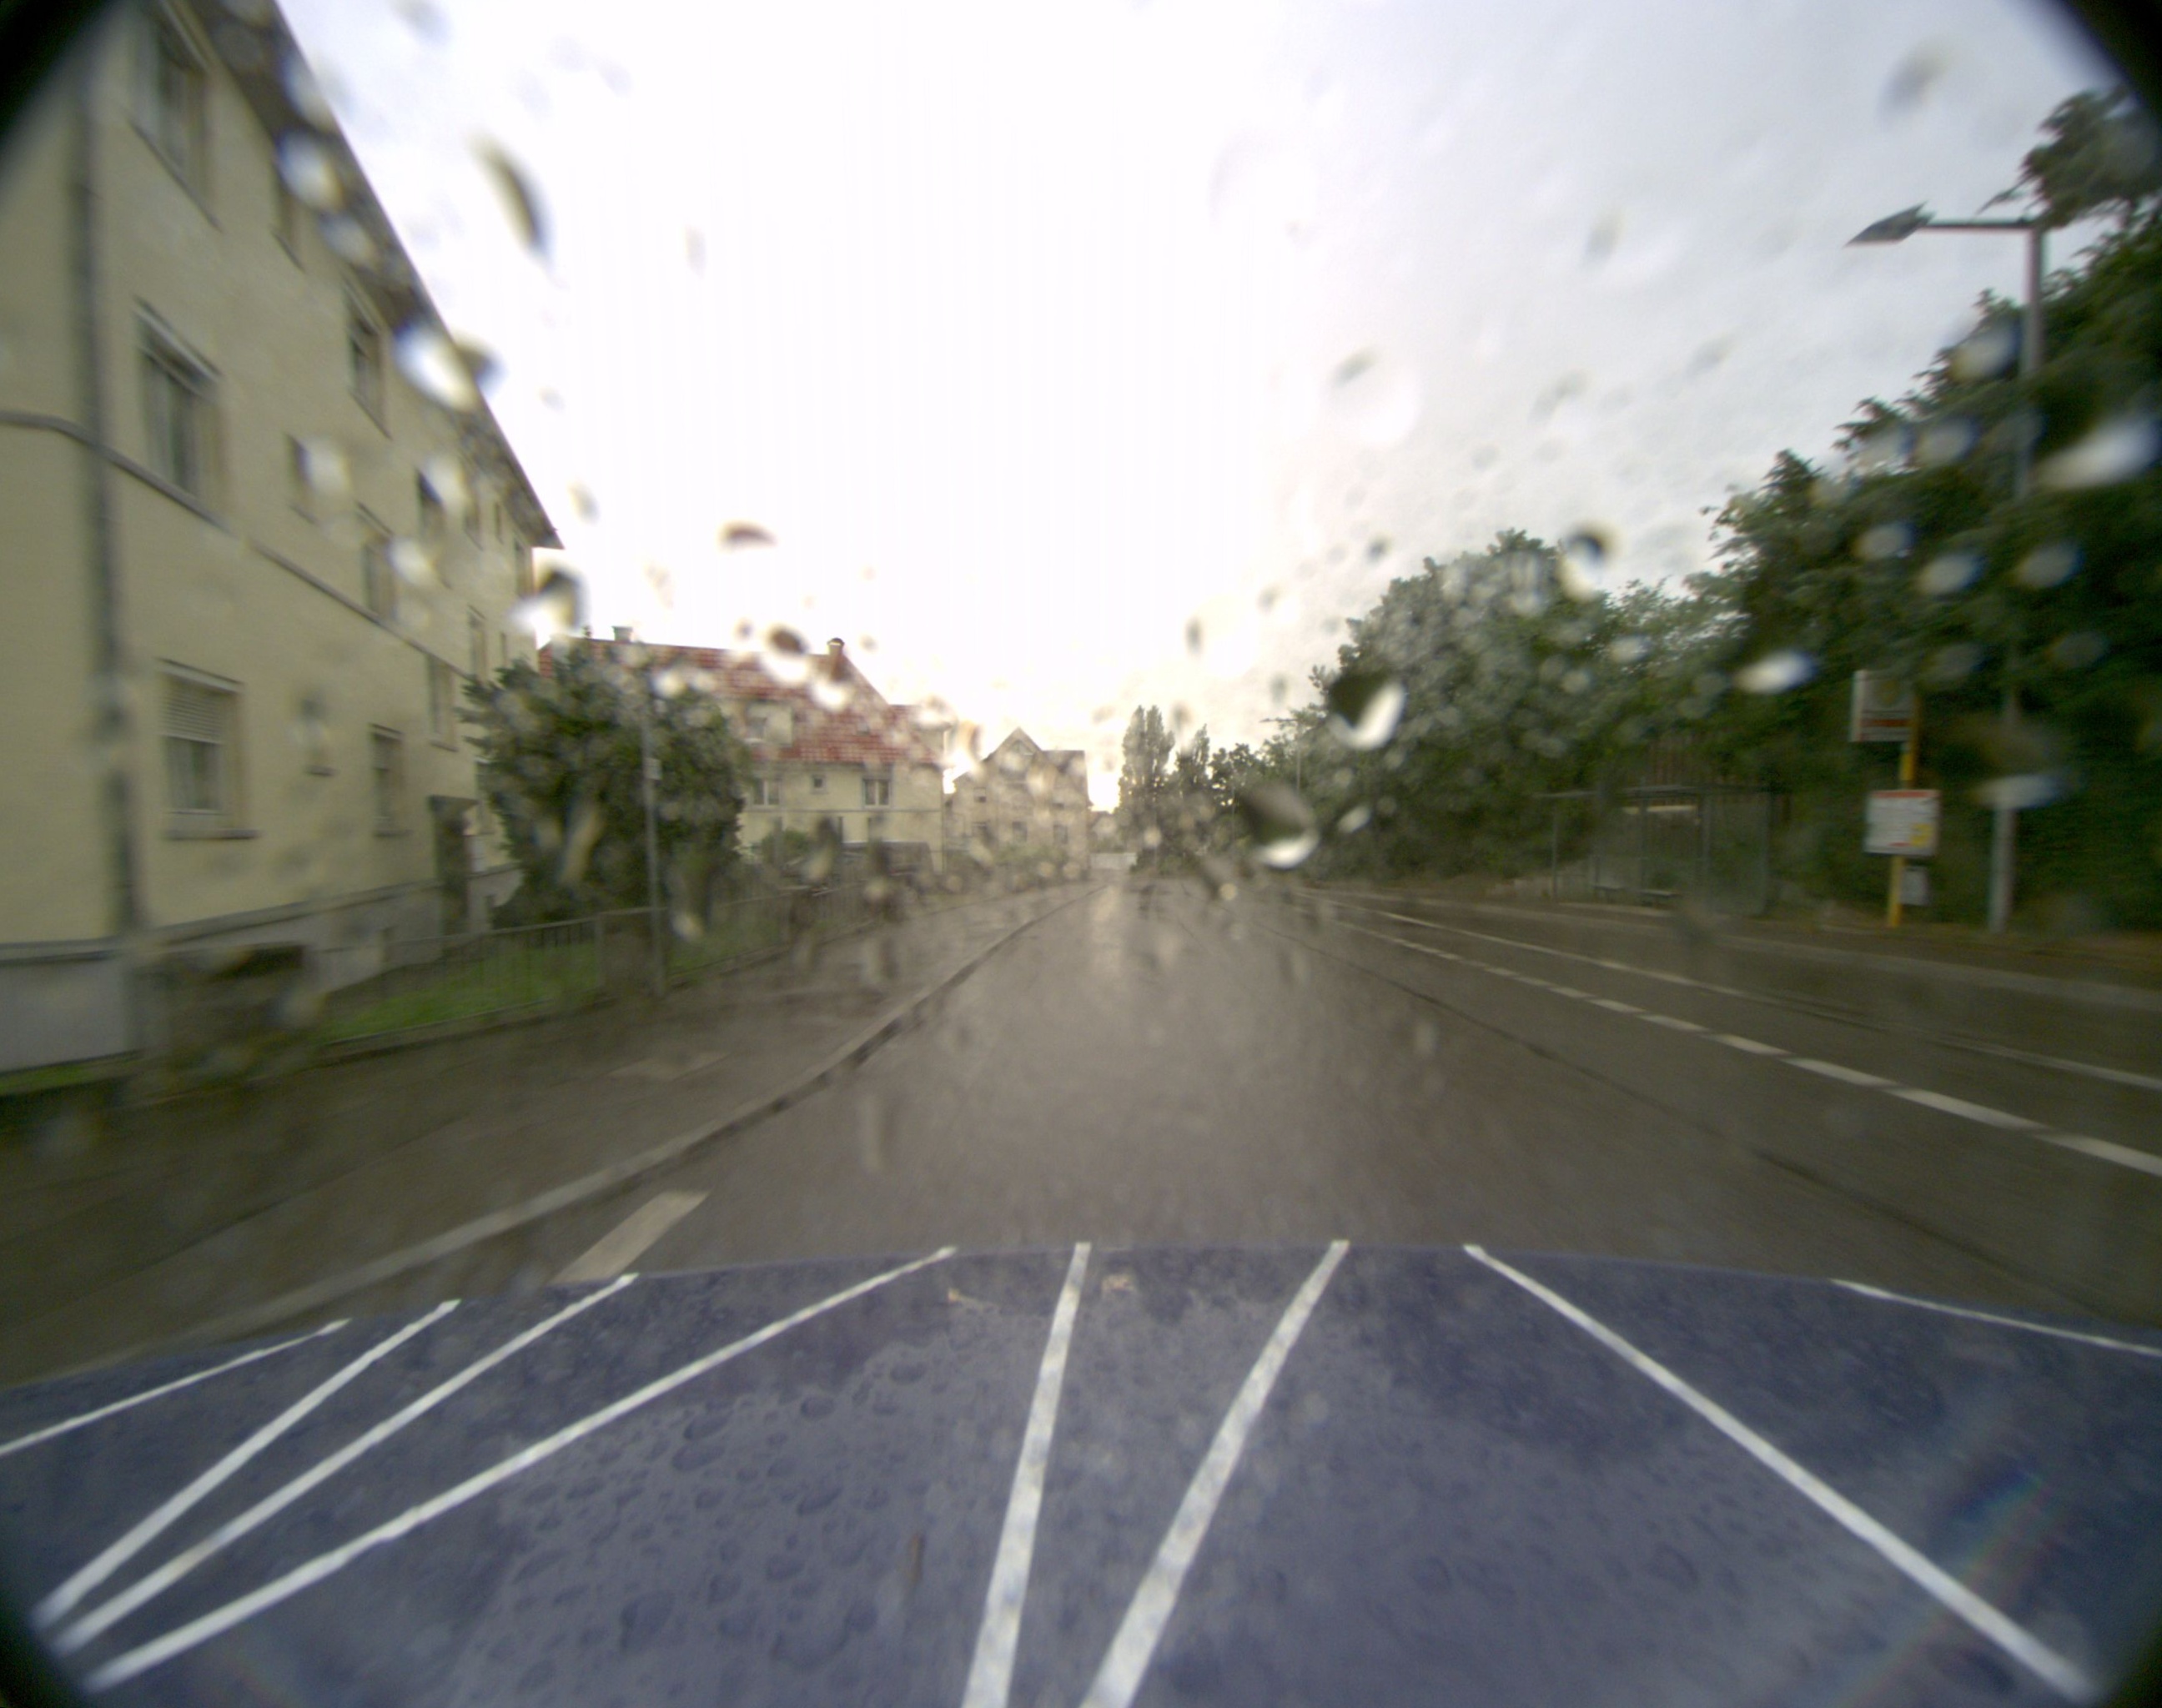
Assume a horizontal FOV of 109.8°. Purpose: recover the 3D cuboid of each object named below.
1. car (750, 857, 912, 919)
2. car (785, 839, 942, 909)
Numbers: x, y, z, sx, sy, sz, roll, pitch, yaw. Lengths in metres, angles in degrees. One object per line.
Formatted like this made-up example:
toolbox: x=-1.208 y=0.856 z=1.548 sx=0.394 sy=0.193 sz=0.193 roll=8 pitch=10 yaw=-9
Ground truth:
car: x=-6.106 y=0.793 z=18.568 sx=3.531 sy=1.331 sz=1.684 roll=1 pitch=2 yaw=-26
car: x=-6.043 y=0.534 z=21.109 sx=3.941 sy=1.772 sz=1.767 roll=1 pitch=2 yaw=-25
